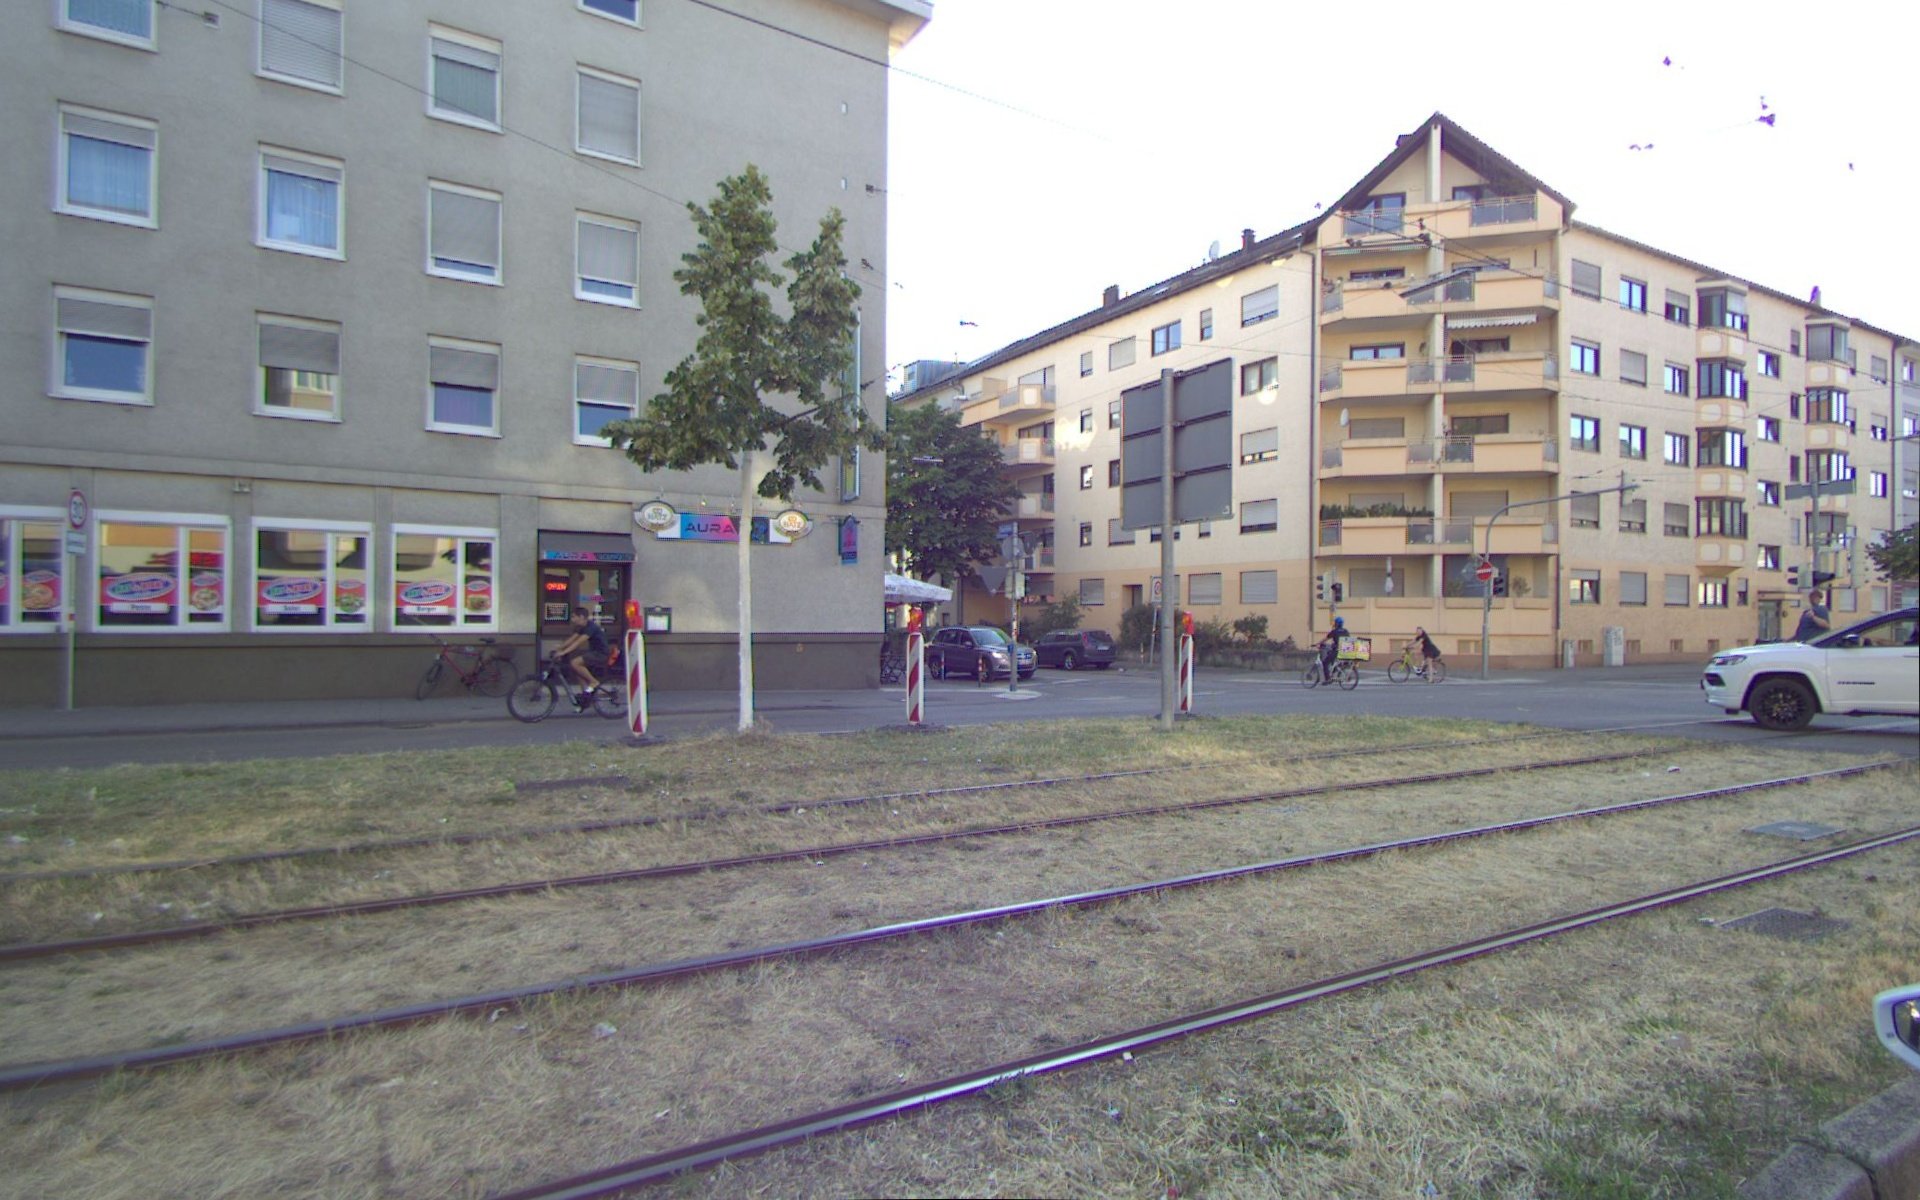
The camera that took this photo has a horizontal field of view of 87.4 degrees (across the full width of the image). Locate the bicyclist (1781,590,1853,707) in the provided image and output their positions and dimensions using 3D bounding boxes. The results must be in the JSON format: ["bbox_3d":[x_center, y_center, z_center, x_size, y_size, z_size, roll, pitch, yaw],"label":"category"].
[{"bbox_3d":[14.371,0.792,16.852,0.648,1.907,0.799,-1,0,-41],"label":"bicyclist"}]

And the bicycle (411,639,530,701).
[{"bbox_3d":[-8.624,1.219,17.715,1.823,1.037,0.605,2,0,-31],"label":"bicycle"}]

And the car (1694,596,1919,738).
[{"bbox_3d":[12.472,0.851,13.250,4.331,1.757,1.989,-1,-2,43],"label":"car"}]

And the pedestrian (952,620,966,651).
[{"bbox_3d":[-0.050,1.843,52.095,0.509,1.573,0.547,2,0,-24],"label":"pedestrian"}]

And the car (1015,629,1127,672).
[{"bbox_3d":[4.098,1.844,37.642,1.982,1.462,3.957,-1,0,-38],"label":"car"}]

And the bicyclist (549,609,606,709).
[{"bbox_3d":[-5.808,0.880,15.244,0.643,1.465,0.773,1,-1,-33],"label":"bicyclist"}]

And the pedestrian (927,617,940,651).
[{"bbox_3d":[-1.382,1.742,51.926,0.456,1.727,0.589,2,0,-24],"label":"pedestrian"}]

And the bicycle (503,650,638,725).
[{"bbox_3d":[-5.877,1.302,15.210,1.841,1.058,0.443,1,-1,-33],"label":"bicycle"}]

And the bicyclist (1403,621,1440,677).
[{"bbox_3d":[13.467,1.421,29.330,0.793,1.607,0.628,0,0,4],"label":"bicyclist"}]

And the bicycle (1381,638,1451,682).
[{"bbox_3d":[13.308,1.748,29.328,1.833,1.274,0.457,0,0,3],"label":"bicycle"}]

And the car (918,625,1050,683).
[{"bbox_3d":[0.682,1.635,31.525,1.982,1.645,4.153,0,-1,-38],"label":"car"}]

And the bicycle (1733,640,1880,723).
[{"bbox_3d":[14.238,1.338,16.946,0.453,1.274,1.849,0,0,-39],"label":"bicycle"}]
